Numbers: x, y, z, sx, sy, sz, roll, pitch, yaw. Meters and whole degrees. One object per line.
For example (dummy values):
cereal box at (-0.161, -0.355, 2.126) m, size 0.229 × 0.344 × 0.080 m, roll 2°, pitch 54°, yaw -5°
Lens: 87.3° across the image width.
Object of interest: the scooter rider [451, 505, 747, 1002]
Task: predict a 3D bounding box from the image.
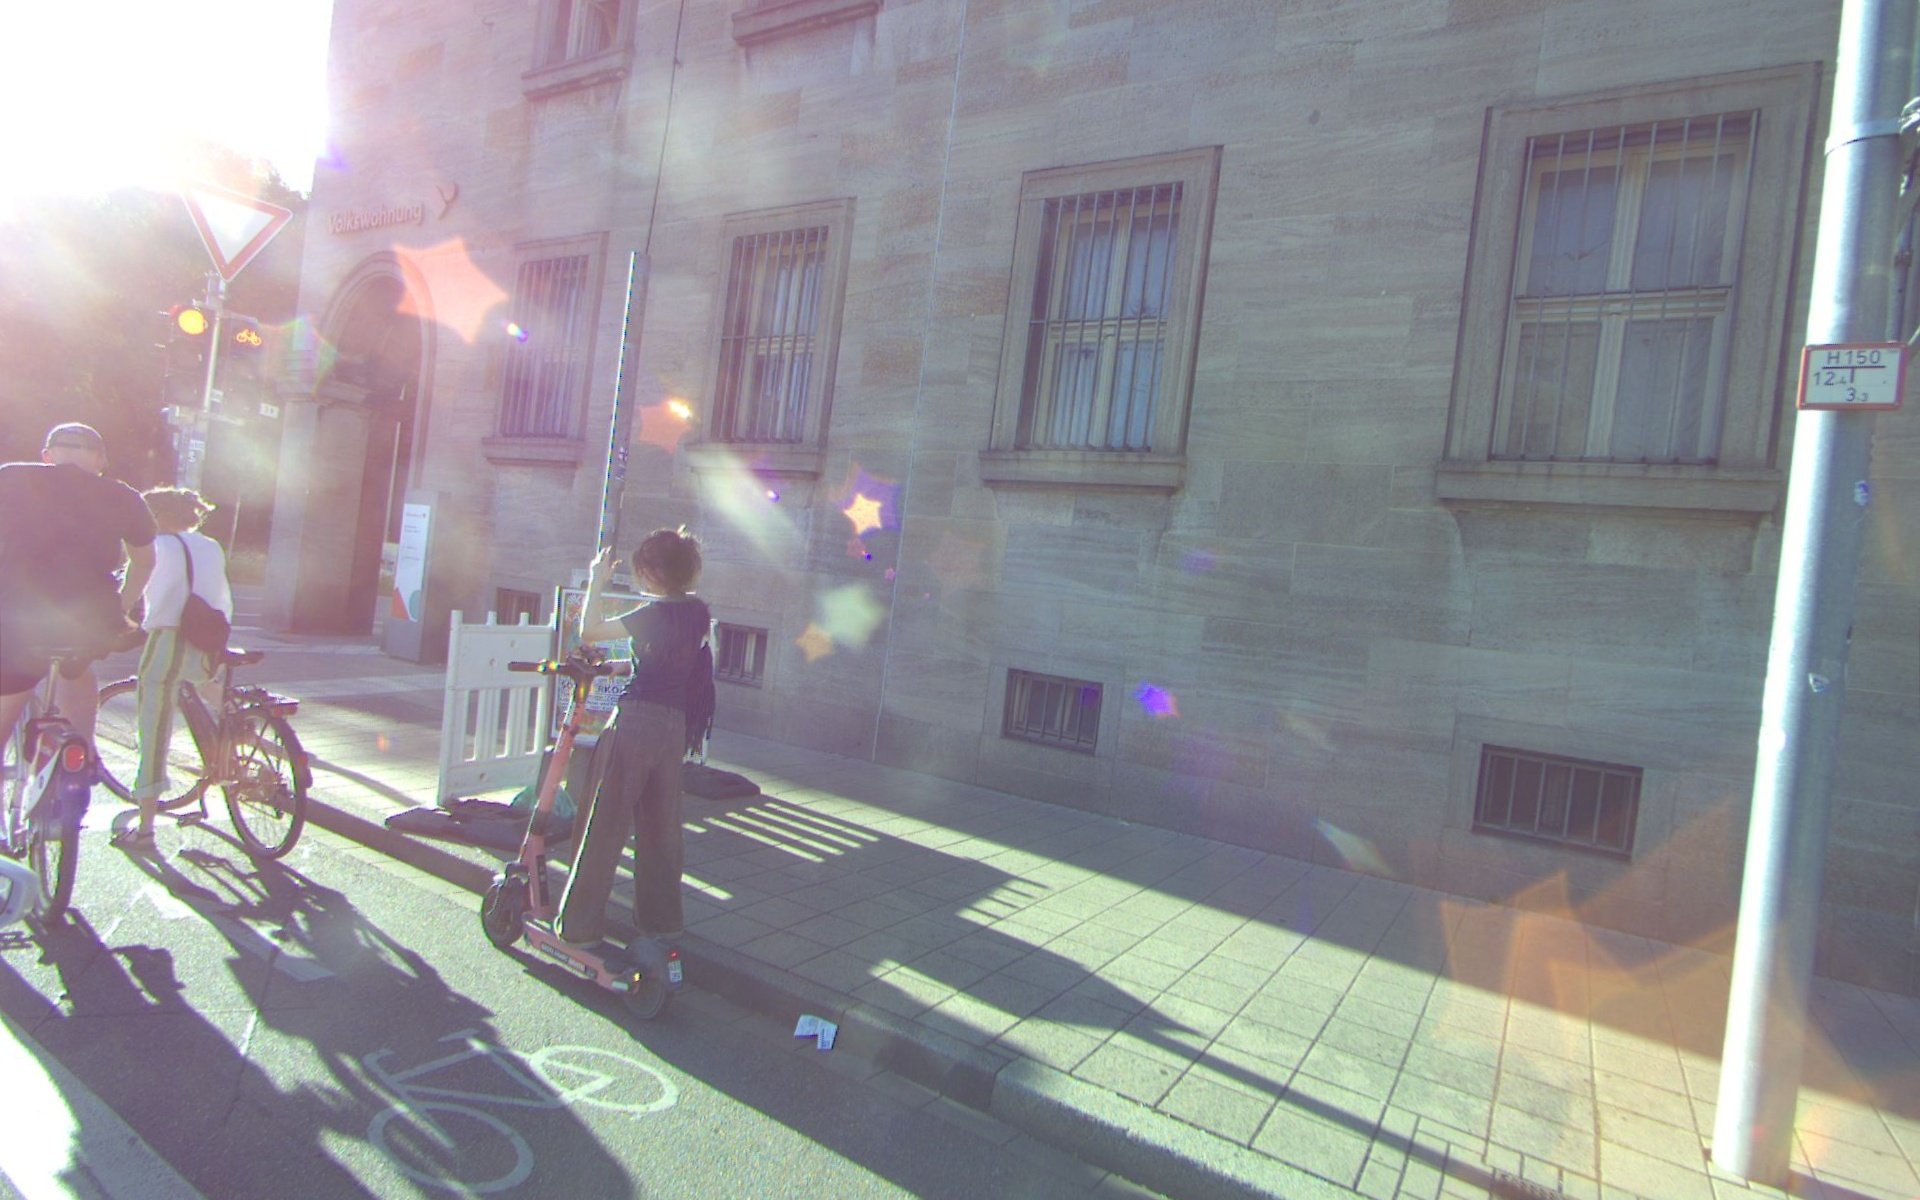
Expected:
scooter rider at (-1.378, 0.543, 3.909) m, size 0.547 × 1.691 × 0.730 m, roll 7°, pitch 0°, yaw 31°

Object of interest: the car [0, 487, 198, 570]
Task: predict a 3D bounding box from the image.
car at (-23.367, -1.891, 27.193) m, size 1.623 × 1.630 × 3.999 m, roll 7°, pitch -1°, yaw 31°

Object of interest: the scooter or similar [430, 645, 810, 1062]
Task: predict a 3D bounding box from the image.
scooter or similar at (-1.315, 0.858, 3.826) m, size 1.305 × 1.199 × 0.535 m, roll 7°, pitch 0°, yaw 31°

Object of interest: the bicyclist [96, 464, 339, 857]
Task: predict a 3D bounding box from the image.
bicyclist at (-3.532, 0.268, 4.799) m, size 0.629 × 1.711 × 0.558 m, roll 7°, pitch -1°, yaw 30°

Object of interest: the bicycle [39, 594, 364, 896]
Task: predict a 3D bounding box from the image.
bicycle at (-3.679, 0.623, 4.837) m, size 1.721 × 1.090 × 0.535 m, roll 7°, pitch -1°, yaw 31°

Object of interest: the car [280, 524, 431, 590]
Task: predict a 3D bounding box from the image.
car at (-19.798, -1.374, 33.088) m, size 1.623 × 1.630 × 3.854 m, roll 7°, pitch -1°, yaw 31°

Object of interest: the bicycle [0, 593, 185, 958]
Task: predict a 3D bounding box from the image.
bicycle at (-3.735, 0.576, 3.920) m, size 1.700 × 1.090 × 0.516 m, roll 7°, pitch -1°, yaw 34°

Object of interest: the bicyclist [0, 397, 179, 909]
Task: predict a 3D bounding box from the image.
bicyclist at (-3.546, 0.195, 3.850) m, size 0.541 × 1.820 × 0.559 m, roll 7°, pitch -1°, yaw 33°
